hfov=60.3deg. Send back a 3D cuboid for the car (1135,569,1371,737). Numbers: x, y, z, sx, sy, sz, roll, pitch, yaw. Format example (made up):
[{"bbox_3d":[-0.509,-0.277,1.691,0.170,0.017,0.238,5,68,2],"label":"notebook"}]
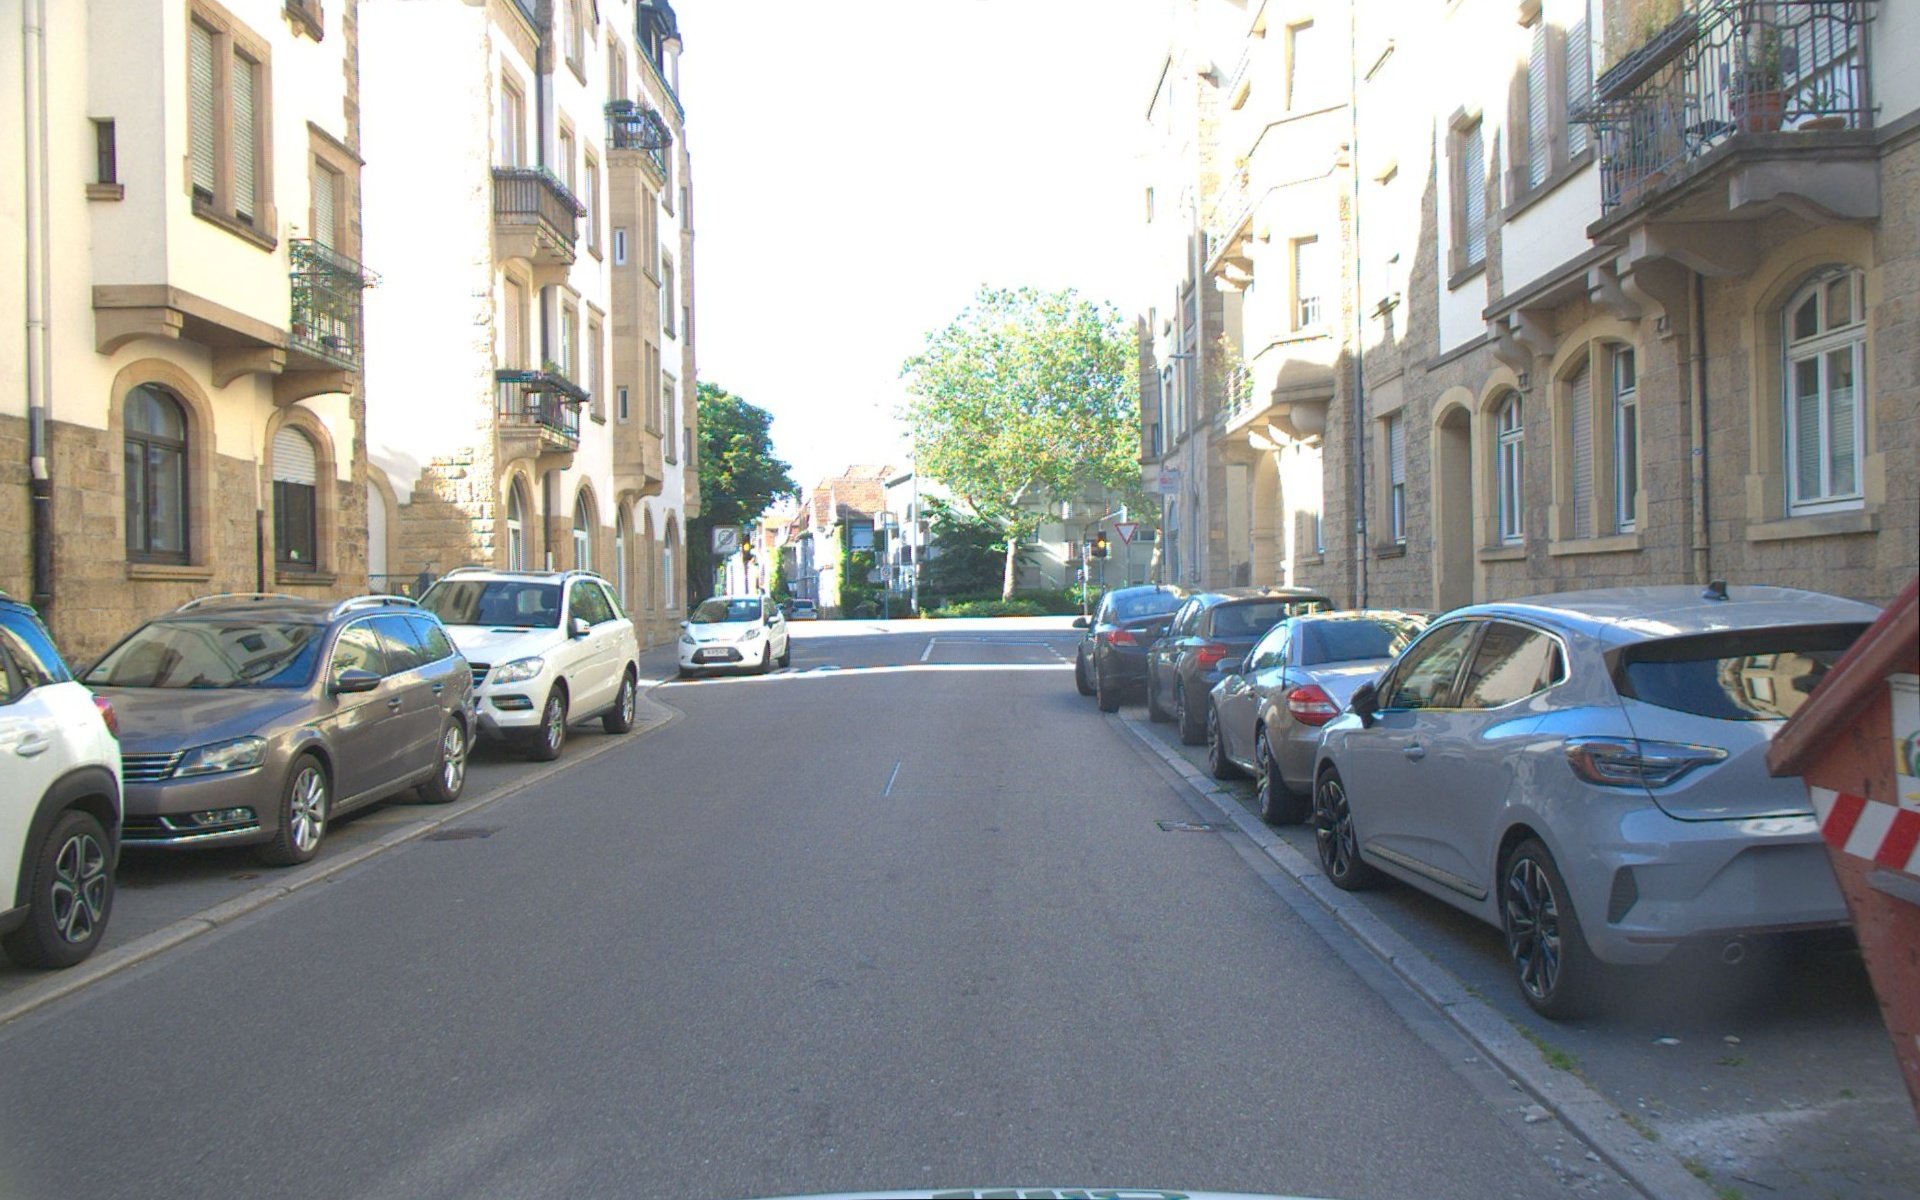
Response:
[{"bbox_3d":[2.876,0.462,17.105,1.617,1.467,4.258,-2,1,0],"label":"car"}]

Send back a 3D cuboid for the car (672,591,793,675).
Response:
[{"bbox_3d":[-4.301,0.587,31.721,1.599,1.489,3.736,-1,0,3],"label":"car"}]

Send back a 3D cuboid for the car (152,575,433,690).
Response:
[{"bbox_3d":[-11.148,0.520,27.822,3.887,1.758,1.909,-2,1,0],"label":"car"}]

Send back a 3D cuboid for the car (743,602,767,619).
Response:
[{"bbox_3d":[-17.357,0.880,139.828,1.707,1.360,3.823,-1,1,-11],"label":"car"}]

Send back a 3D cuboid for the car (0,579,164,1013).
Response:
[{"bbox_3d":[-4.408,0.728,5.429,1.680,1.611,4.019,2,1,-2],"label":"car"}]

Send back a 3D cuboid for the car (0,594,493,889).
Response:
[{"bbox_3d":[-4.471,0.734,10.835,1.541,1.513,4.280,0,1,1],"label":"car"}]

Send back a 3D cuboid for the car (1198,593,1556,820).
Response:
[{"bbox_3d":[2.782,0.633,11.899,1.658,1.276,3.942,-2,1,2],"label":"car"}]

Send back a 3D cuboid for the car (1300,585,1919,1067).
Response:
[{"bbox_3d":[2.814,0.680,7.054,1.750,1.454,3.805,-1,0,-3],"label":"car"}]

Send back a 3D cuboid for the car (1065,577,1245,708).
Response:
[{"bbox_3d":[2.465,0.489,21.936,1.827,1.487,4.339,-2,0,0],"label":"car"}]

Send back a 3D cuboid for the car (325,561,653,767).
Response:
[{"bbox_3d":[-4.510,0.551,16.667,1.853,1.752,4.726,1,0,1],"label":"car"}]

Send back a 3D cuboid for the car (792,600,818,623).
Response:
[{"bbox_3d":[-10.463,0.765,111.807,1.641,1.508,3.519,0,0,-4],"label":"car"}]

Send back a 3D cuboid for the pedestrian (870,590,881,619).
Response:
[{"bbox_3d":[-5.110,0.269,100.194,0.620,1.780,0.659,0,-1,-2],"label":"pedestrian"}]
